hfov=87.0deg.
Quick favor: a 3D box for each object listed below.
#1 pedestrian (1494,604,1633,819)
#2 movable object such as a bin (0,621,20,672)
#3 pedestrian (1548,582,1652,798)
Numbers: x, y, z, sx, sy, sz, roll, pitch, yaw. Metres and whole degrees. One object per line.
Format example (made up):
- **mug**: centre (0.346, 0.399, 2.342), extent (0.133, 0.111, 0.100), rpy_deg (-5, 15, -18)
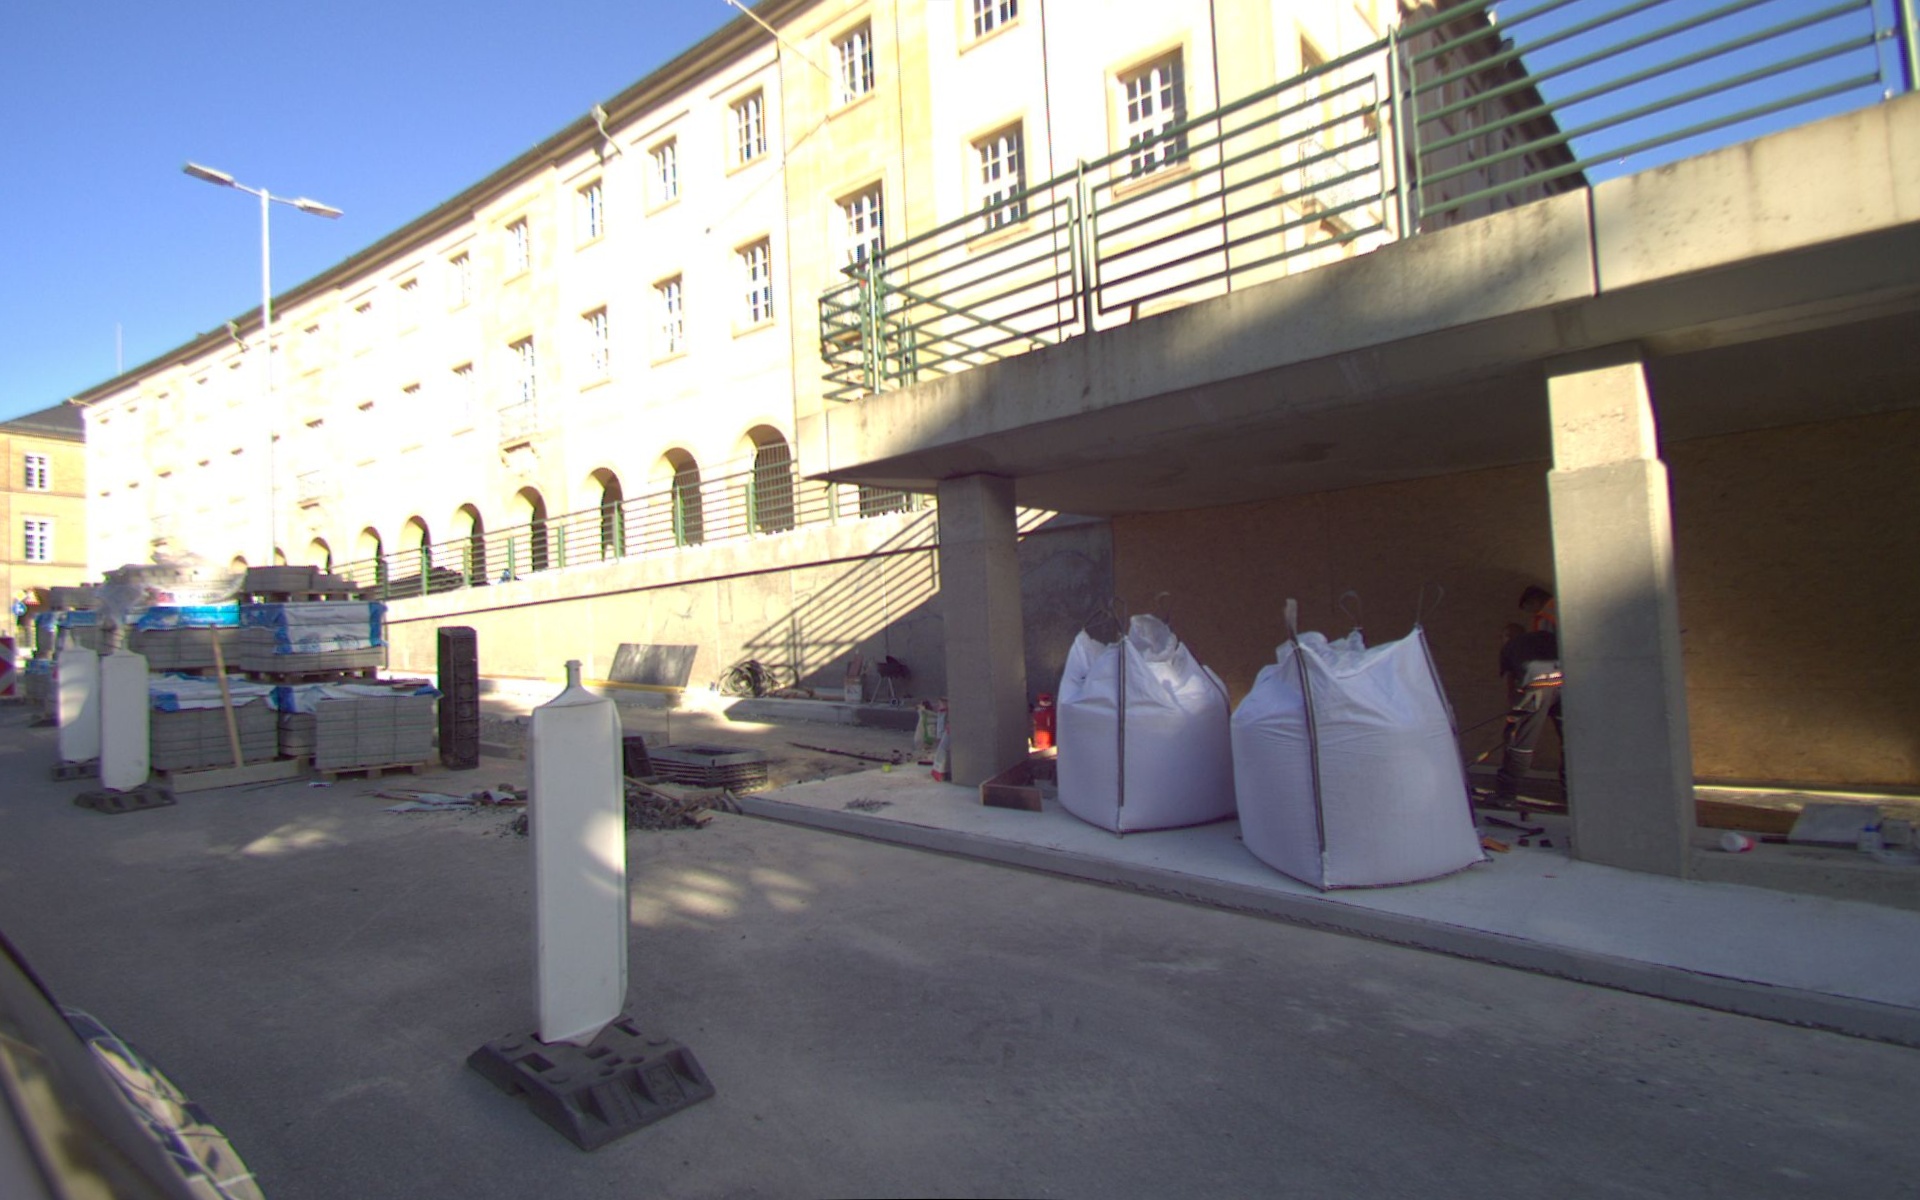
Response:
- **pedestrian**: centre (4.307, 0.739, 7.217), extent (0.781, 1.409, 0.864), rpy_deg (-1, -1, 33)
- **movable object such as a bin**: centre (-48.062, 2.305, 49.424), extent (4.294, 2.414, 2.082), rpy_deg (-4, -5, 33)
- **pedestrian**: centre (4.992, 0.668, 7.913), extent (0.629, 1.592, 0.644), rpy_deg (-1, -1, 33)
